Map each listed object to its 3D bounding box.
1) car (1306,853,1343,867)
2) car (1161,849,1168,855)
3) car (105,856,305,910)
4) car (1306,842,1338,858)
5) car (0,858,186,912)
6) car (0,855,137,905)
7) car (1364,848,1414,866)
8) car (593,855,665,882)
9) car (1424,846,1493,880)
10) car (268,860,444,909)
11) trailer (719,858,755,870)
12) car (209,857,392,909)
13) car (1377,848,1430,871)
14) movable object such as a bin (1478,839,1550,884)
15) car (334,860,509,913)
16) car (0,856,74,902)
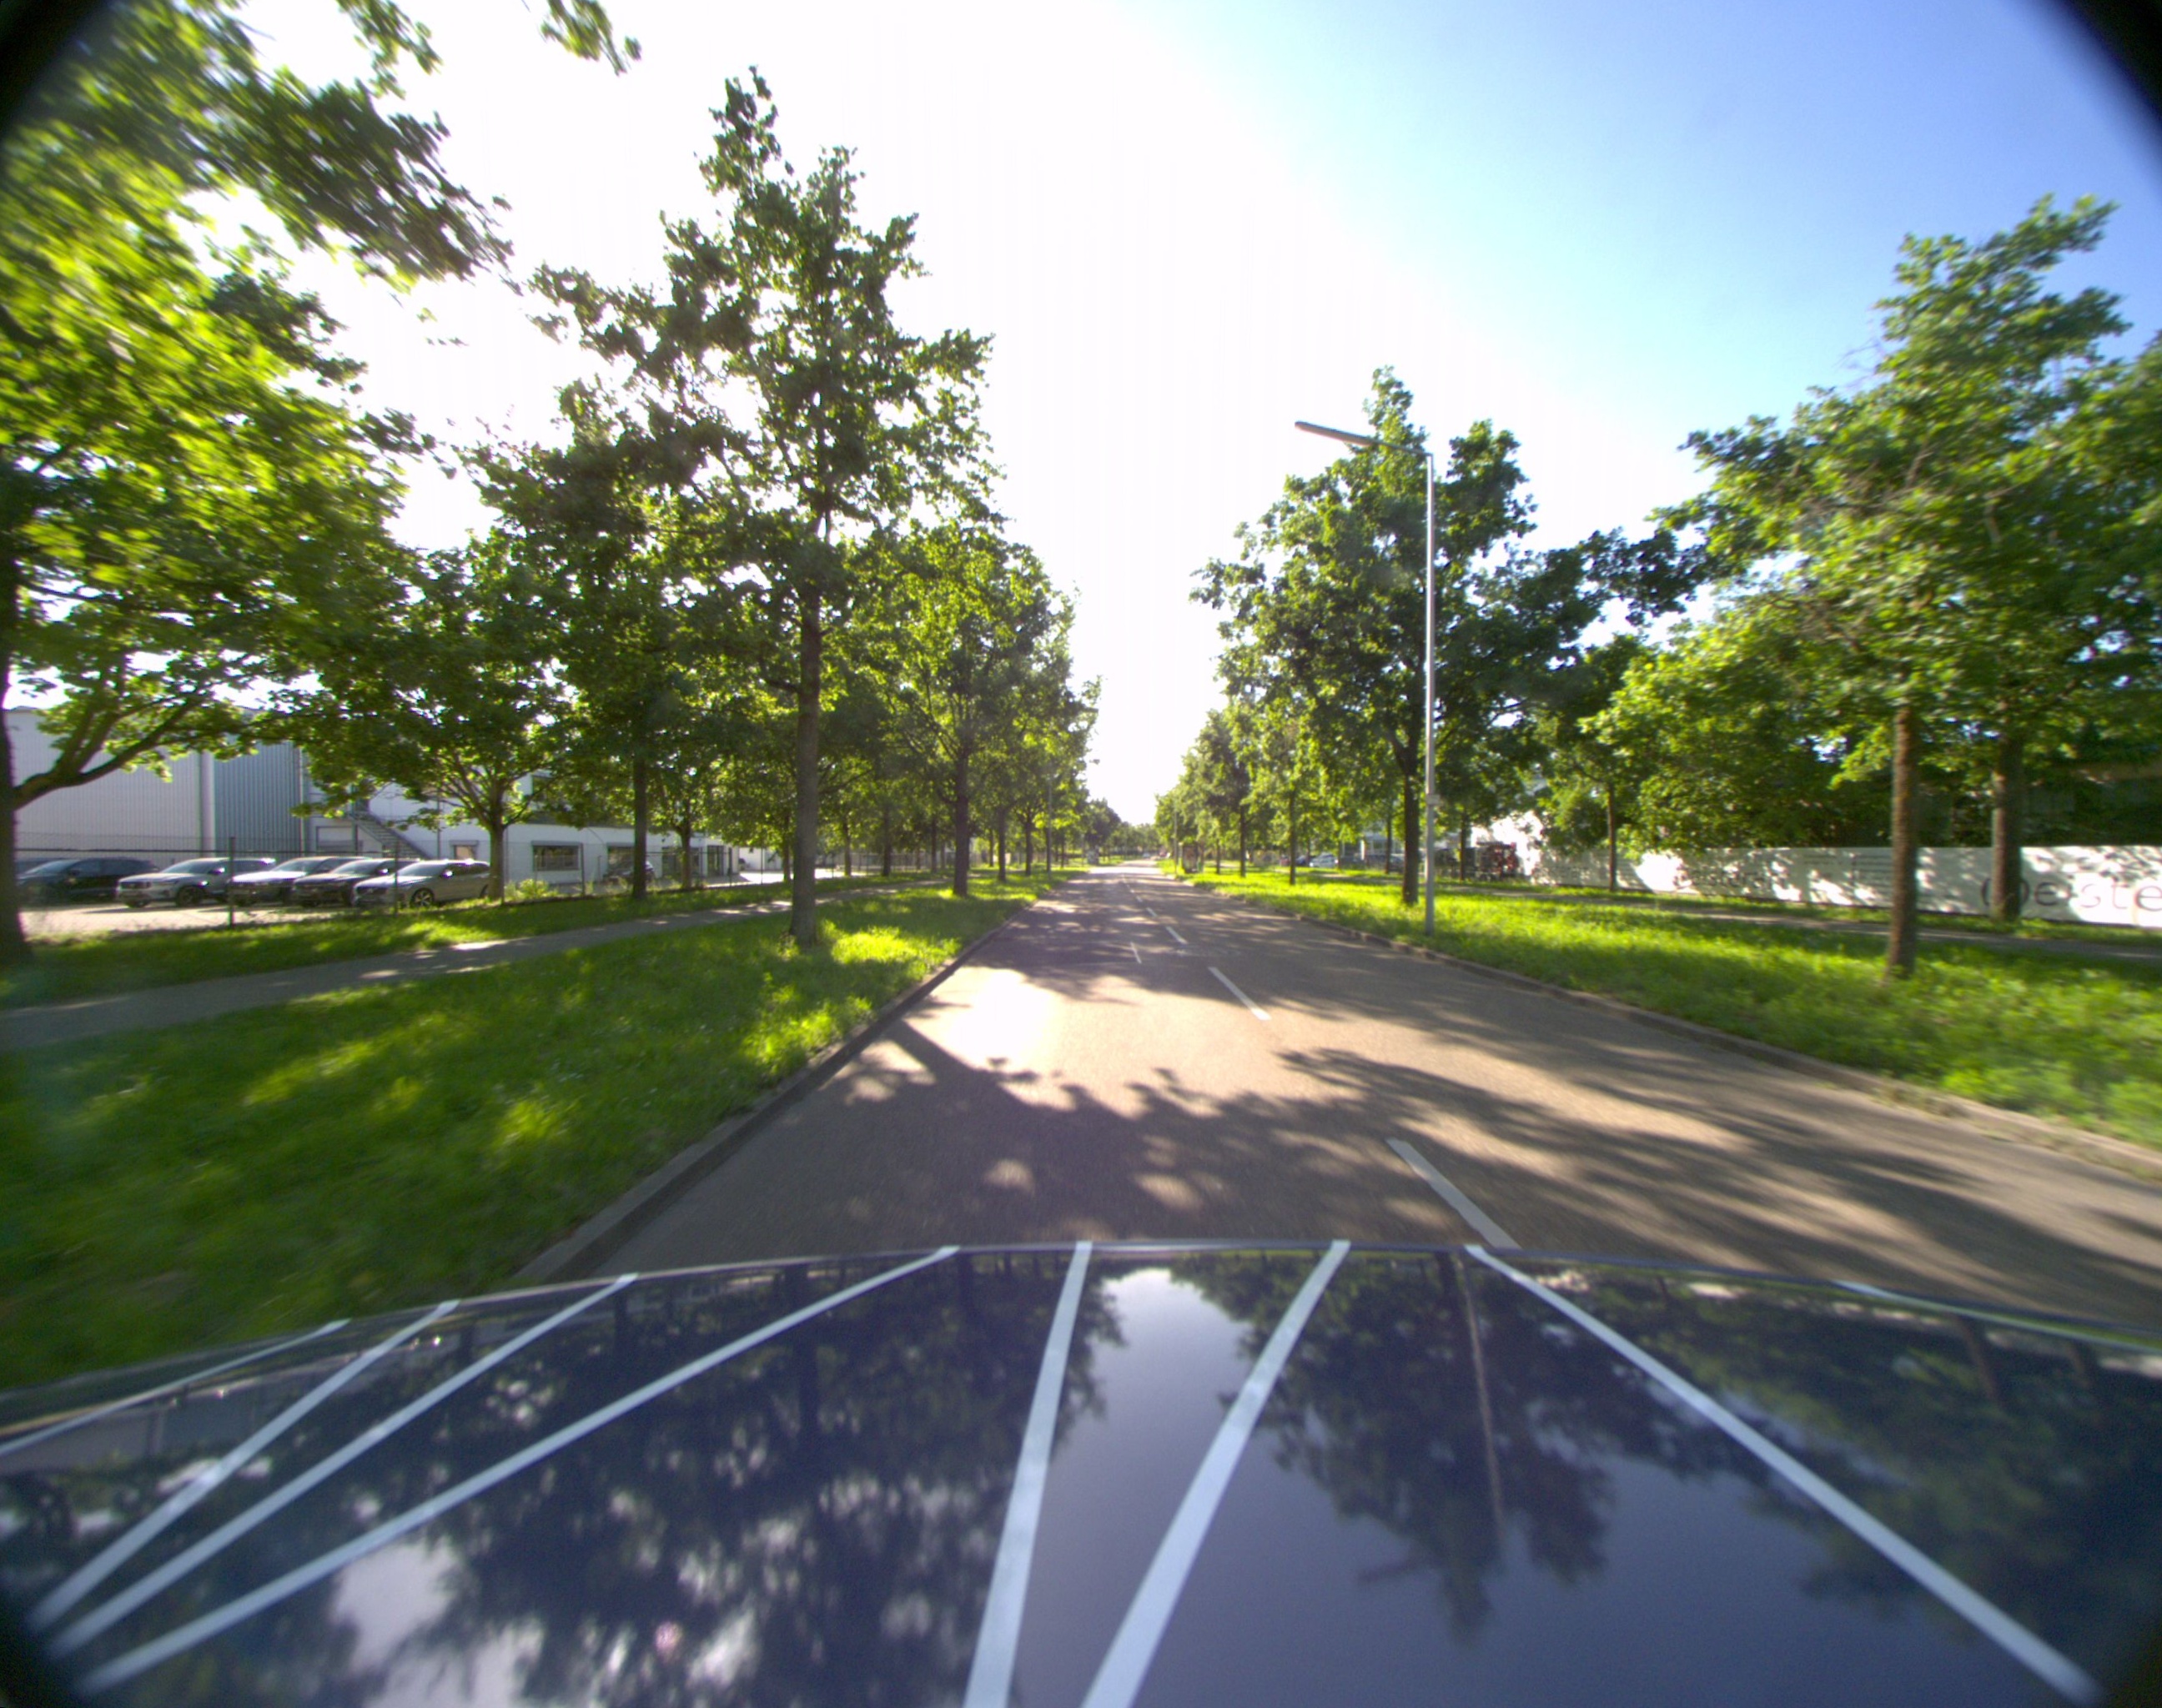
[{"bbox_3d":[28.283,0.685,88.081,3.885,1.493,2.003,-2,1,23],"label":"car"},{"bbox_3d":[26.073,-0.649,236.965,1.997,2.002,4.002,0,0,8],"label":"car"},{"bbox_3d":[-30.789,0.947,26.970,1.999,1.663,4.454,-2,1,-4],"label":"car"},{"bbox_3d":[31.404,-0.531,98.918,4.007,1.827,1.995,-3,1,-38],"label":"car"},{"bbox_3d":[-35.583,1.057,27.104,1.698,1.646,4.457,-2,1,6],"label":"car"},{"bbox_3d":[-37.912,0.930,27.329,1.704,1.663,4.721,-2,1,6],"label":"car"},{"bbox_3d":[34.778,0.372,85.732,5.038,1.827,2.003,-2,1,25],"label":"car"},{"bbox_3d":[-28.059,0.858,47.343,1.719,1.497,4.159,-2,1,4],"label":"car"},{"bbox_3d":[25.237,0.539,51.019,1.998,2.162,5.672,0,0,2],"label":"car"},{"bbox_3d":[-25.519,1.008,27.030,1.999,1.550,4.455,0,0,-1],"label":"car"},{"bbox_3d":[-39.584,1.139,87.508,3.588,1.259,1.733,0,0,19],"label":"trailer"},{"bbox_3d":[-27.887,0.979,27.413,1.999,1.663,4.455,0,0,-1],"label":"car"},{"bbox_3d":[28.371,0.496,66.851,3.989,2.002,2.004,0,1,32],"label":"car"},{"bbox_3d":[25.856,0.407,45.527,1.998,2.501,4.236,-2,1,3],"label":"movable object such as a bin"},{"bbox_3d":[-22.726,1.047,26.493,1.999,1.597,4.715,0,1,-1],"label":"car"},{"bbox_3d":[-40.430,0.972,27.246,1.741,1.663,4.971,-2,1,4],"label":"car"}]
